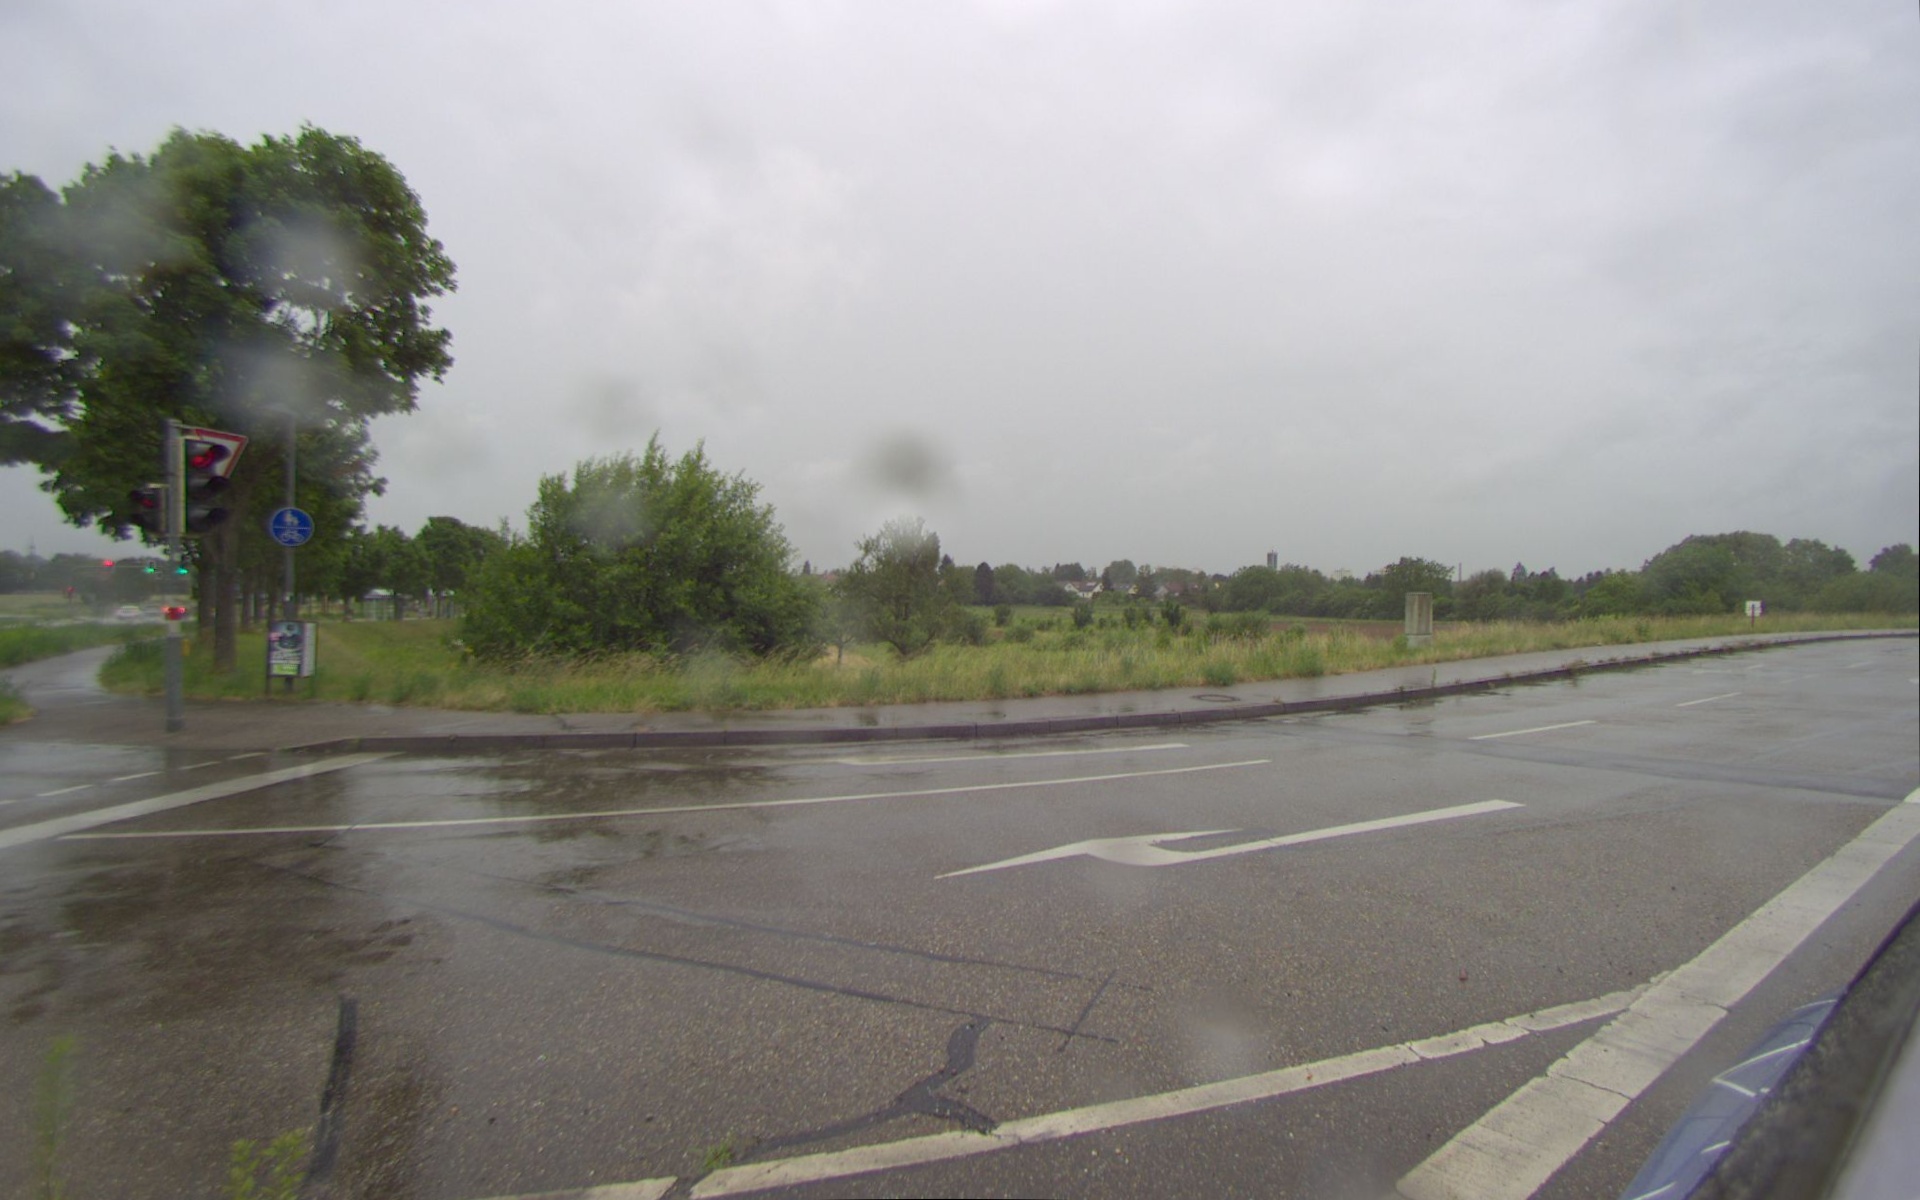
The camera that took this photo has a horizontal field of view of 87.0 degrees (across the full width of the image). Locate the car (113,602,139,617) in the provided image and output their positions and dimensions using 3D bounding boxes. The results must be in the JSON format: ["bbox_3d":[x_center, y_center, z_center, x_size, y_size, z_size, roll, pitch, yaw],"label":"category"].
[{"bbox_3d":[-83.505,0.897,101.401,1.845,1.371,4.050,0,1,-37],"label":"car"}]

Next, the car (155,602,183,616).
[{"bbox_3d":[-81.077,0.894,103.745,1.843,1.371,4.055,0,1,-32],"label":"car"}]
